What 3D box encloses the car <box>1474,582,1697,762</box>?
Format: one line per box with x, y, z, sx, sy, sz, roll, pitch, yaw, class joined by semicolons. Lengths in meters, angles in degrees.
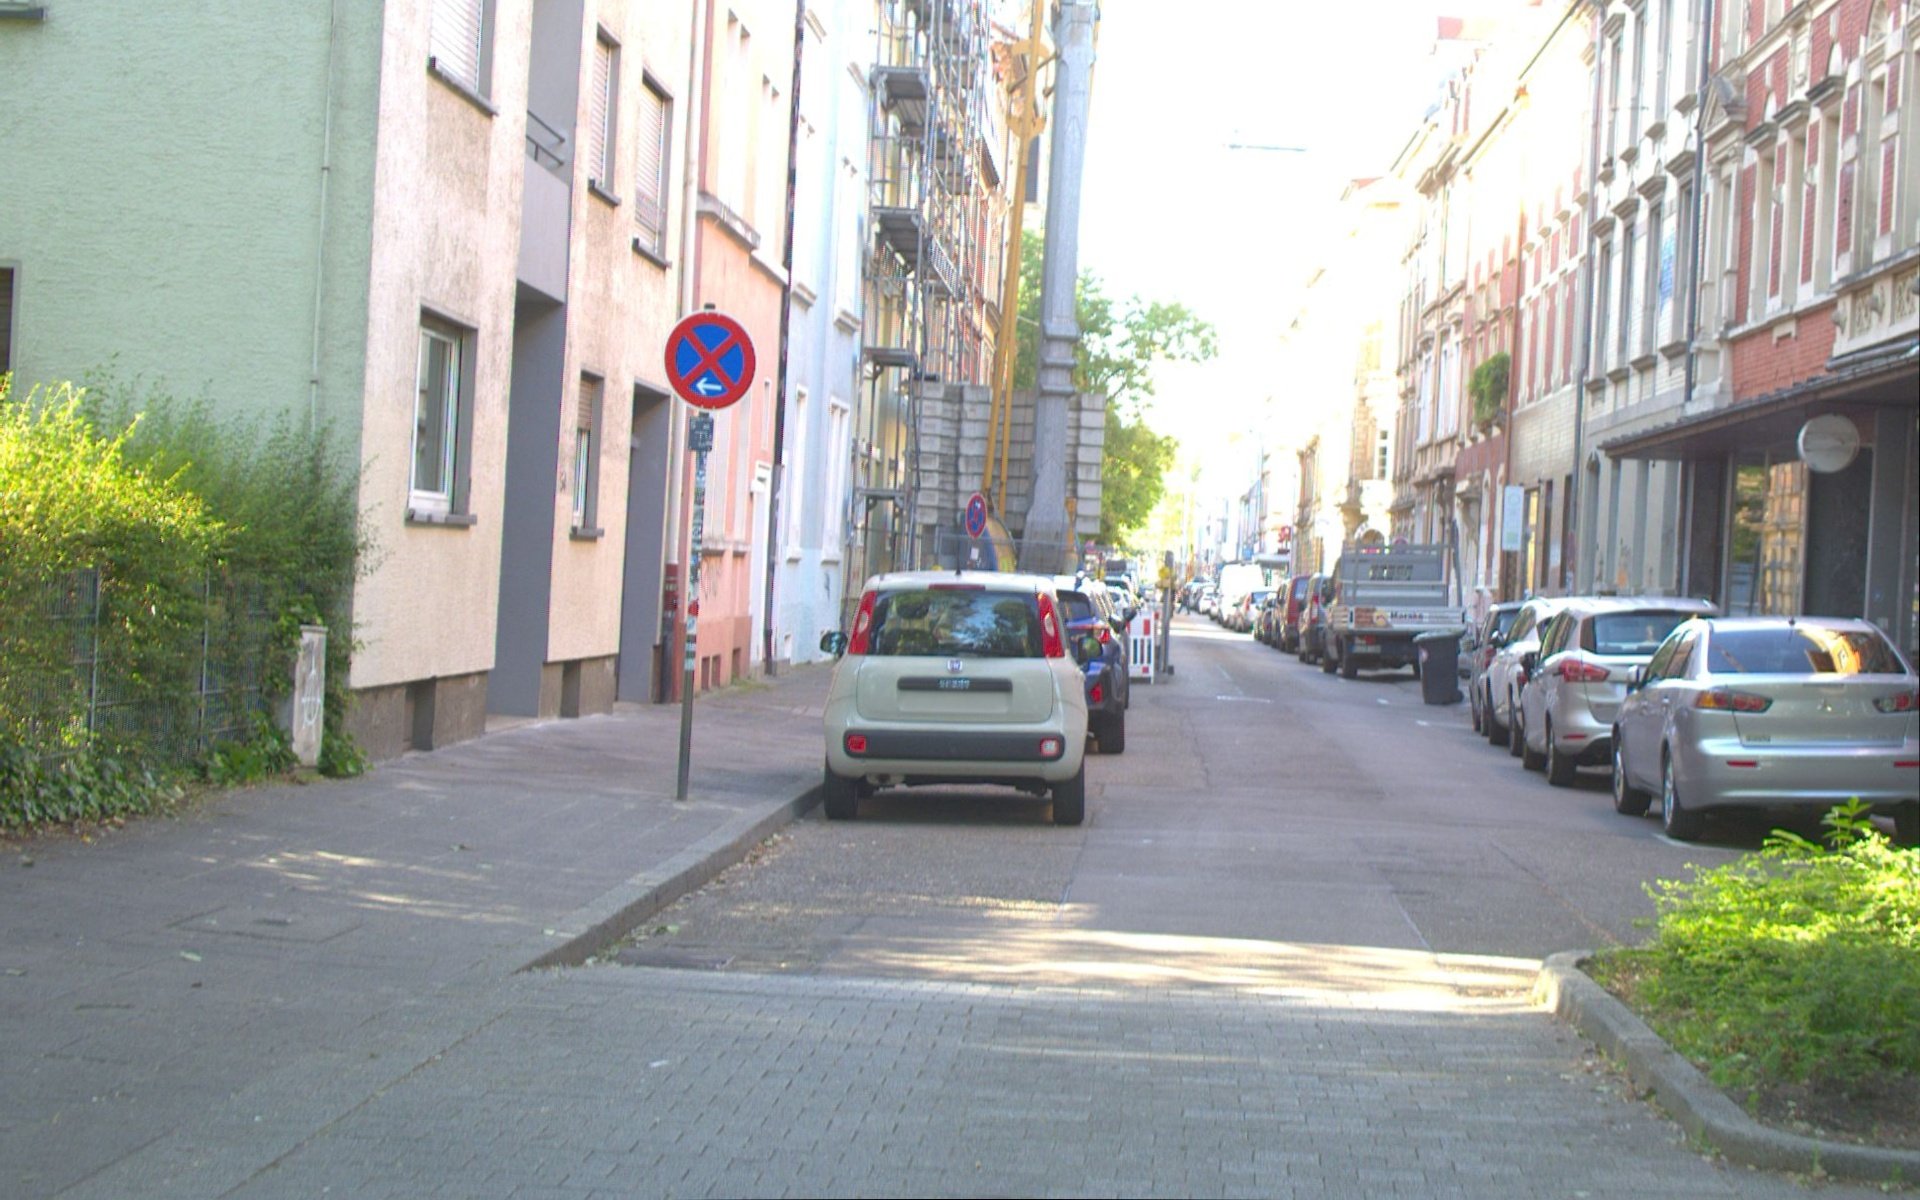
6.387;0.688;35.504;1.747;1.670;4.340;2;0;4;car

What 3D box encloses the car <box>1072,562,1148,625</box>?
3.649;-0.166;84.103;1.675;1.440;3.869;2;0;1;car

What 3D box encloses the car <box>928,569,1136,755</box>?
0.641;0.509;31.284;1.729;1.534;4.378;1;0;1;car

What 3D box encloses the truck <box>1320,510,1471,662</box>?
7.905;-0.282;62.830;2.190;2.598;5.234;2;1;2;truck

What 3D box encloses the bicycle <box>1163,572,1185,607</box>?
7.677;-0.386;123.497;0.724;1.182;2.042;4;2;3;bicycle

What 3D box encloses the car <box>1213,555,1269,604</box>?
11.229;-0.830;137.636;1.993;1.842;4.000;2;1;2;car

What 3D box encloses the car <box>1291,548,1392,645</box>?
8.103;-0.086;73.341;1.675;1.956;4.109;2;0;1;car

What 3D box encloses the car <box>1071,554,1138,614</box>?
3.936;-0.444;94.275;1.675;1.566;3.869;2;0;1;car

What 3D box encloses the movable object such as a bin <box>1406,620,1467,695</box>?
7.013;0.845;50.612;0.795;1.052;0.660;3;1;3;movable object such as a bin

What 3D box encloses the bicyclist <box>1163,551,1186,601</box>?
7.713;-0.873;123.511;0.730;1.755;0.835;3;1;4;bicyclist

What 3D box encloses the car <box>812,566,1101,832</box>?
0.007;0.571;22.415;1.675;1.534;3.869;2;0;1;car

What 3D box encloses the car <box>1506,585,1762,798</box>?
5.809;0.741;30.005;1.640;1.650;3.869;3;0;4;car

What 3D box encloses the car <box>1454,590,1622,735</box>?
6.814;0.705;40.839;1.597;1.555;3.813;2;1;5;car

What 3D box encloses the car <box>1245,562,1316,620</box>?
9.223;-0.275;99.162;1.675;1.566;3.869;2;0;1;car

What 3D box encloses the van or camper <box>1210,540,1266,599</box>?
12.283;-1.367;152.255;1.993;2.500;4.202;2;1;-1;van or camper

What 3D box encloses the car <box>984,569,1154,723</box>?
1.223;0.453;37.293;1.675;1.506;4.414;2;1;3;car

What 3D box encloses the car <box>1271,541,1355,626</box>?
8.794;-0.419;85.815;1.675;2.024;3.869;2;0;1;car

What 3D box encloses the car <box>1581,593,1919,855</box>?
5.541;0.782;23.915;1.721;1.557;4.398;3;1;2;car

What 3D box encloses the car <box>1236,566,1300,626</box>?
11.065;-0.164;123.668;1.994;2.007;4.000;2;1;2;car

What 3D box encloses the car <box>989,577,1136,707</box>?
1.322;0.480;42.863;1.675;1.472;4.607;2;1;3;car
